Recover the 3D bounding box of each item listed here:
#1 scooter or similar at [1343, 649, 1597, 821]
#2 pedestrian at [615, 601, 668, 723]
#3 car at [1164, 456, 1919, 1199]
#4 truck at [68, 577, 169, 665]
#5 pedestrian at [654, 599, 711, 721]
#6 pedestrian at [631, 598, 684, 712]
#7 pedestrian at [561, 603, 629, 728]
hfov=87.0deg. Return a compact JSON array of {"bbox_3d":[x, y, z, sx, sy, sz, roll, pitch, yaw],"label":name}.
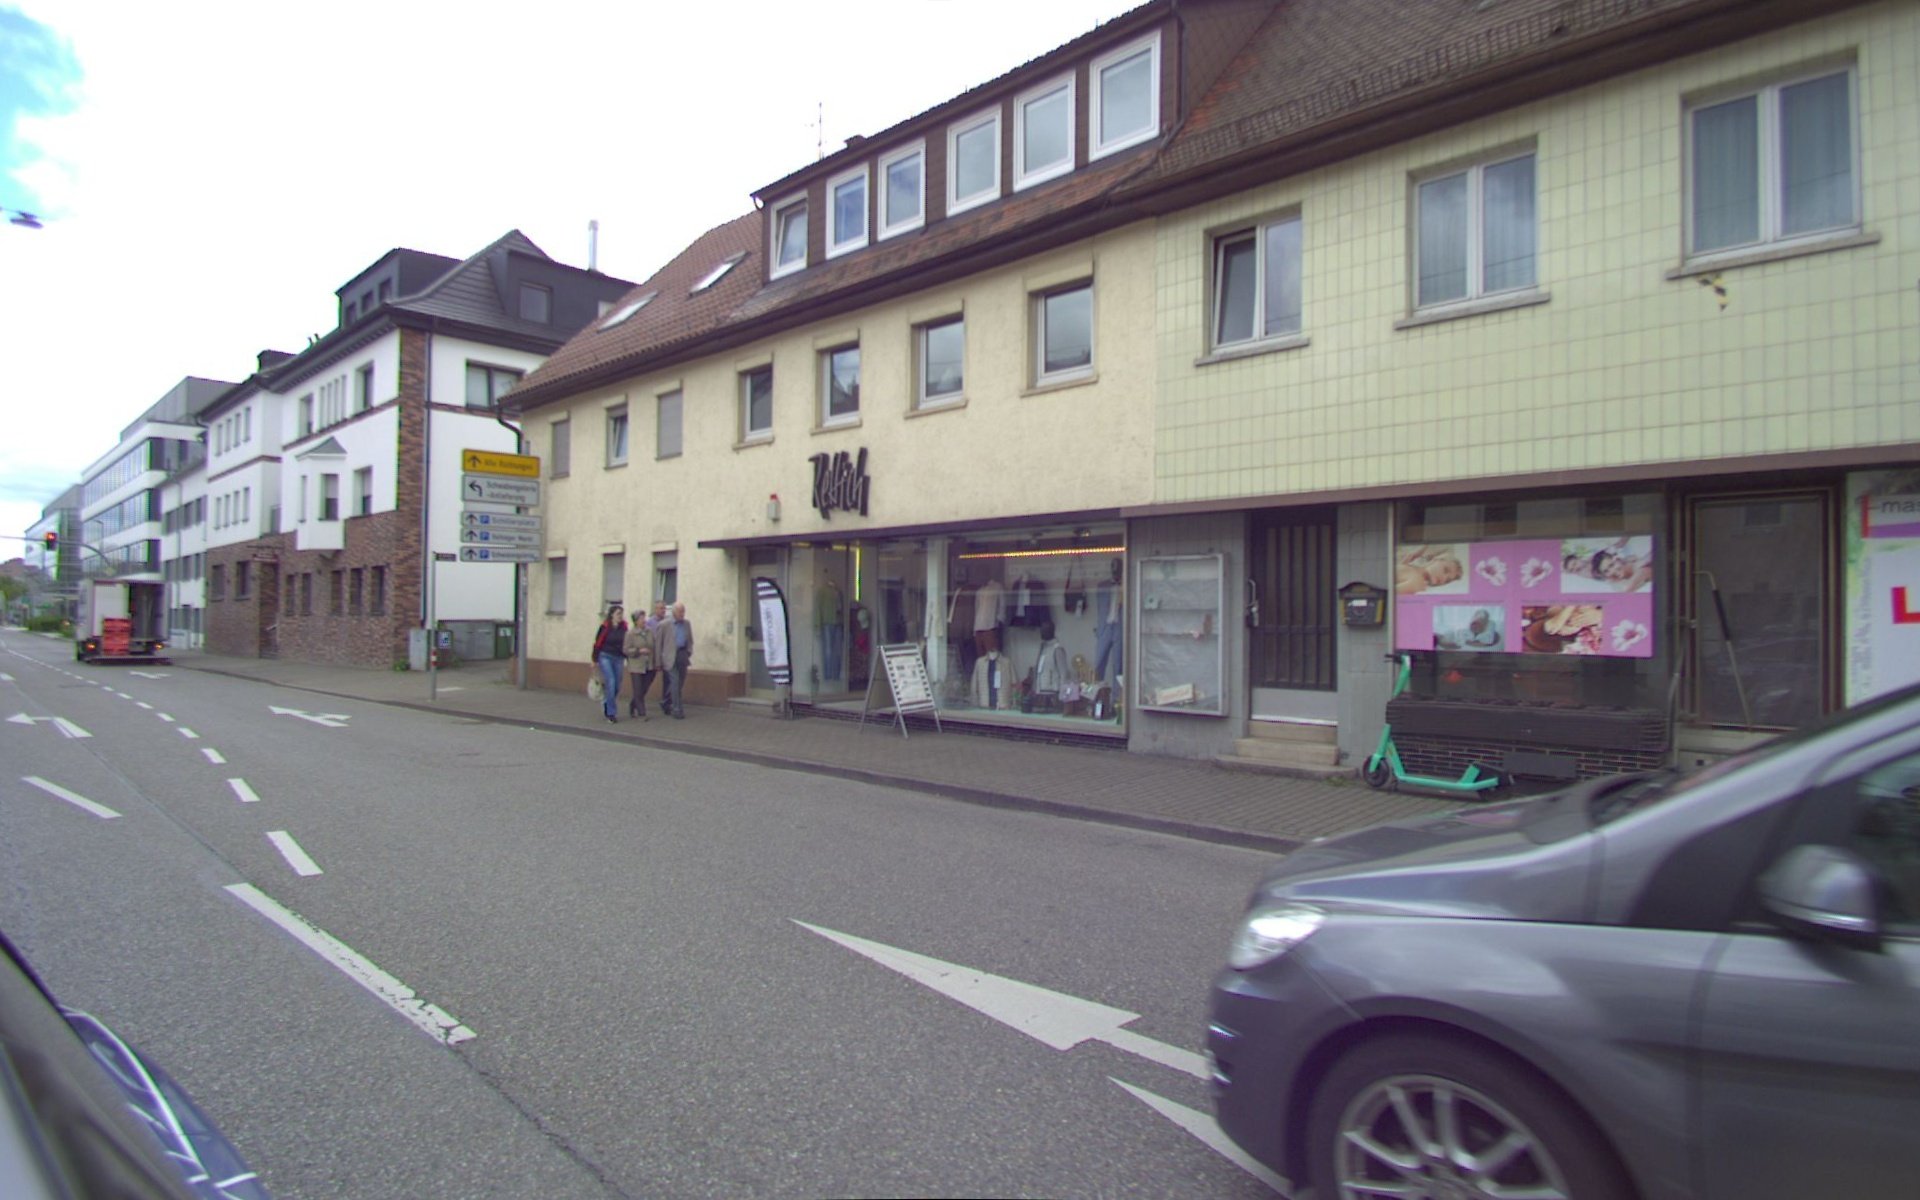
[{"bbox_3d":[4.023,1.012,8.086,1.722,1.179,0.522,-1,-1,44],"label":"scooter or similar"},{"bbox_3d":[-4.689,0.901,14.896,0.648,1.750,0.490,-1,-2,44],"label":"pedestrian"},{"bbox_3d":[2.552,0.608,1.557,4.075,1.564,1.760,-1,-4,44],"label":"car"},{"bbox_3d":[-31.216,0.752,37.471,2.433,2.993,5.969,0,-1,-44],"label":"truck"},{"bbox_3d":[-4.114,0.876,15.017,0.648,1.750,0.547,-1,-2,44],"label":"pedestrian"},{"bbox_3d":[-4.772,0.850,15.957,0.648,1.750,0.547,-1,-2,44],"label":"pedestrian"},{"bbox_3d":[-5.292,0.930,14.676,0.717,1.750,0.670,-1,-2,44],"label":"pedestrian"}]
